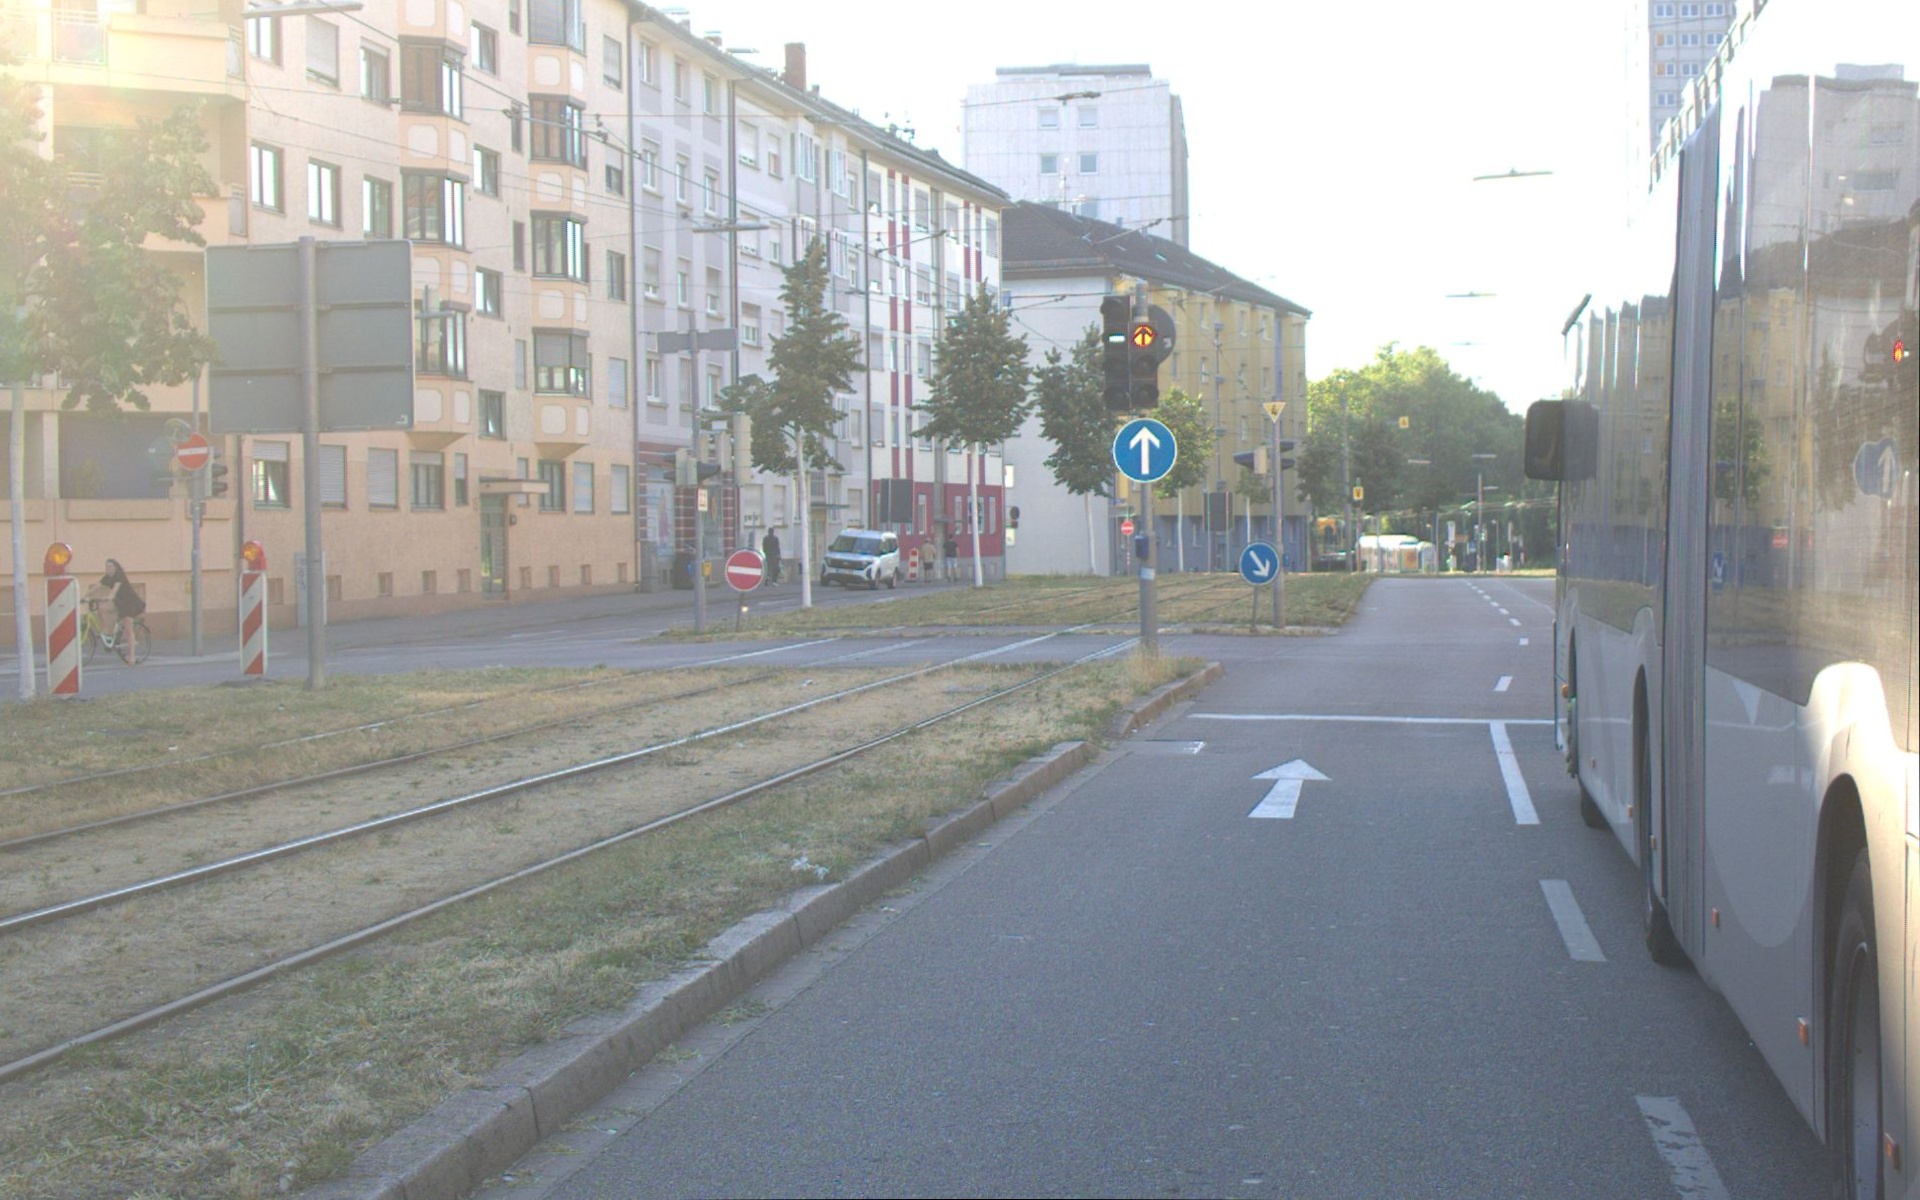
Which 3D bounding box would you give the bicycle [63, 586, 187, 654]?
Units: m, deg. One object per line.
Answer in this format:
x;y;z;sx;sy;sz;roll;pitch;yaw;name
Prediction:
-12.686;0.300;52.257;0.529;0.980;1.879;0;1;38;bicycle

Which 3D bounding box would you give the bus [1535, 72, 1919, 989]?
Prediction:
4.205;-0.311;15.886;2.739;3.045;9.128;1;1;8;bus

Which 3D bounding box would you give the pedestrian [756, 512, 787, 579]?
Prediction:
-5.691;-1.636;103.773;0.786;2.007;0.890;-1;1;5;pedestrian

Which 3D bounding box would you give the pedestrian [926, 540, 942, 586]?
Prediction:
-0.938;-1.344;124.289;0.496;1.652;0.408;-1;1;9;pedestrian

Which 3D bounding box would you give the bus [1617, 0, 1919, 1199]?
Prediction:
2.986;-0.135;6.954;2.739;3.045;8.851;1;1;8;bus

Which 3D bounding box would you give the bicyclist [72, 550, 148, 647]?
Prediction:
-12.866;-0.028;52.047;0.529;1.442;0.963;0;1;39;bicyclist

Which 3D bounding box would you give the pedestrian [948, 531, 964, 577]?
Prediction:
-0.139;-1.669;124.389;0.496;1.652;0.408;-1;1;9;pedestrian

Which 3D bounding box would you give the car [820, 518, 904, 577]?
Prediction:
-3.056;-1.628;107.852;1.812;1.791;4.243;1;1;9;car
